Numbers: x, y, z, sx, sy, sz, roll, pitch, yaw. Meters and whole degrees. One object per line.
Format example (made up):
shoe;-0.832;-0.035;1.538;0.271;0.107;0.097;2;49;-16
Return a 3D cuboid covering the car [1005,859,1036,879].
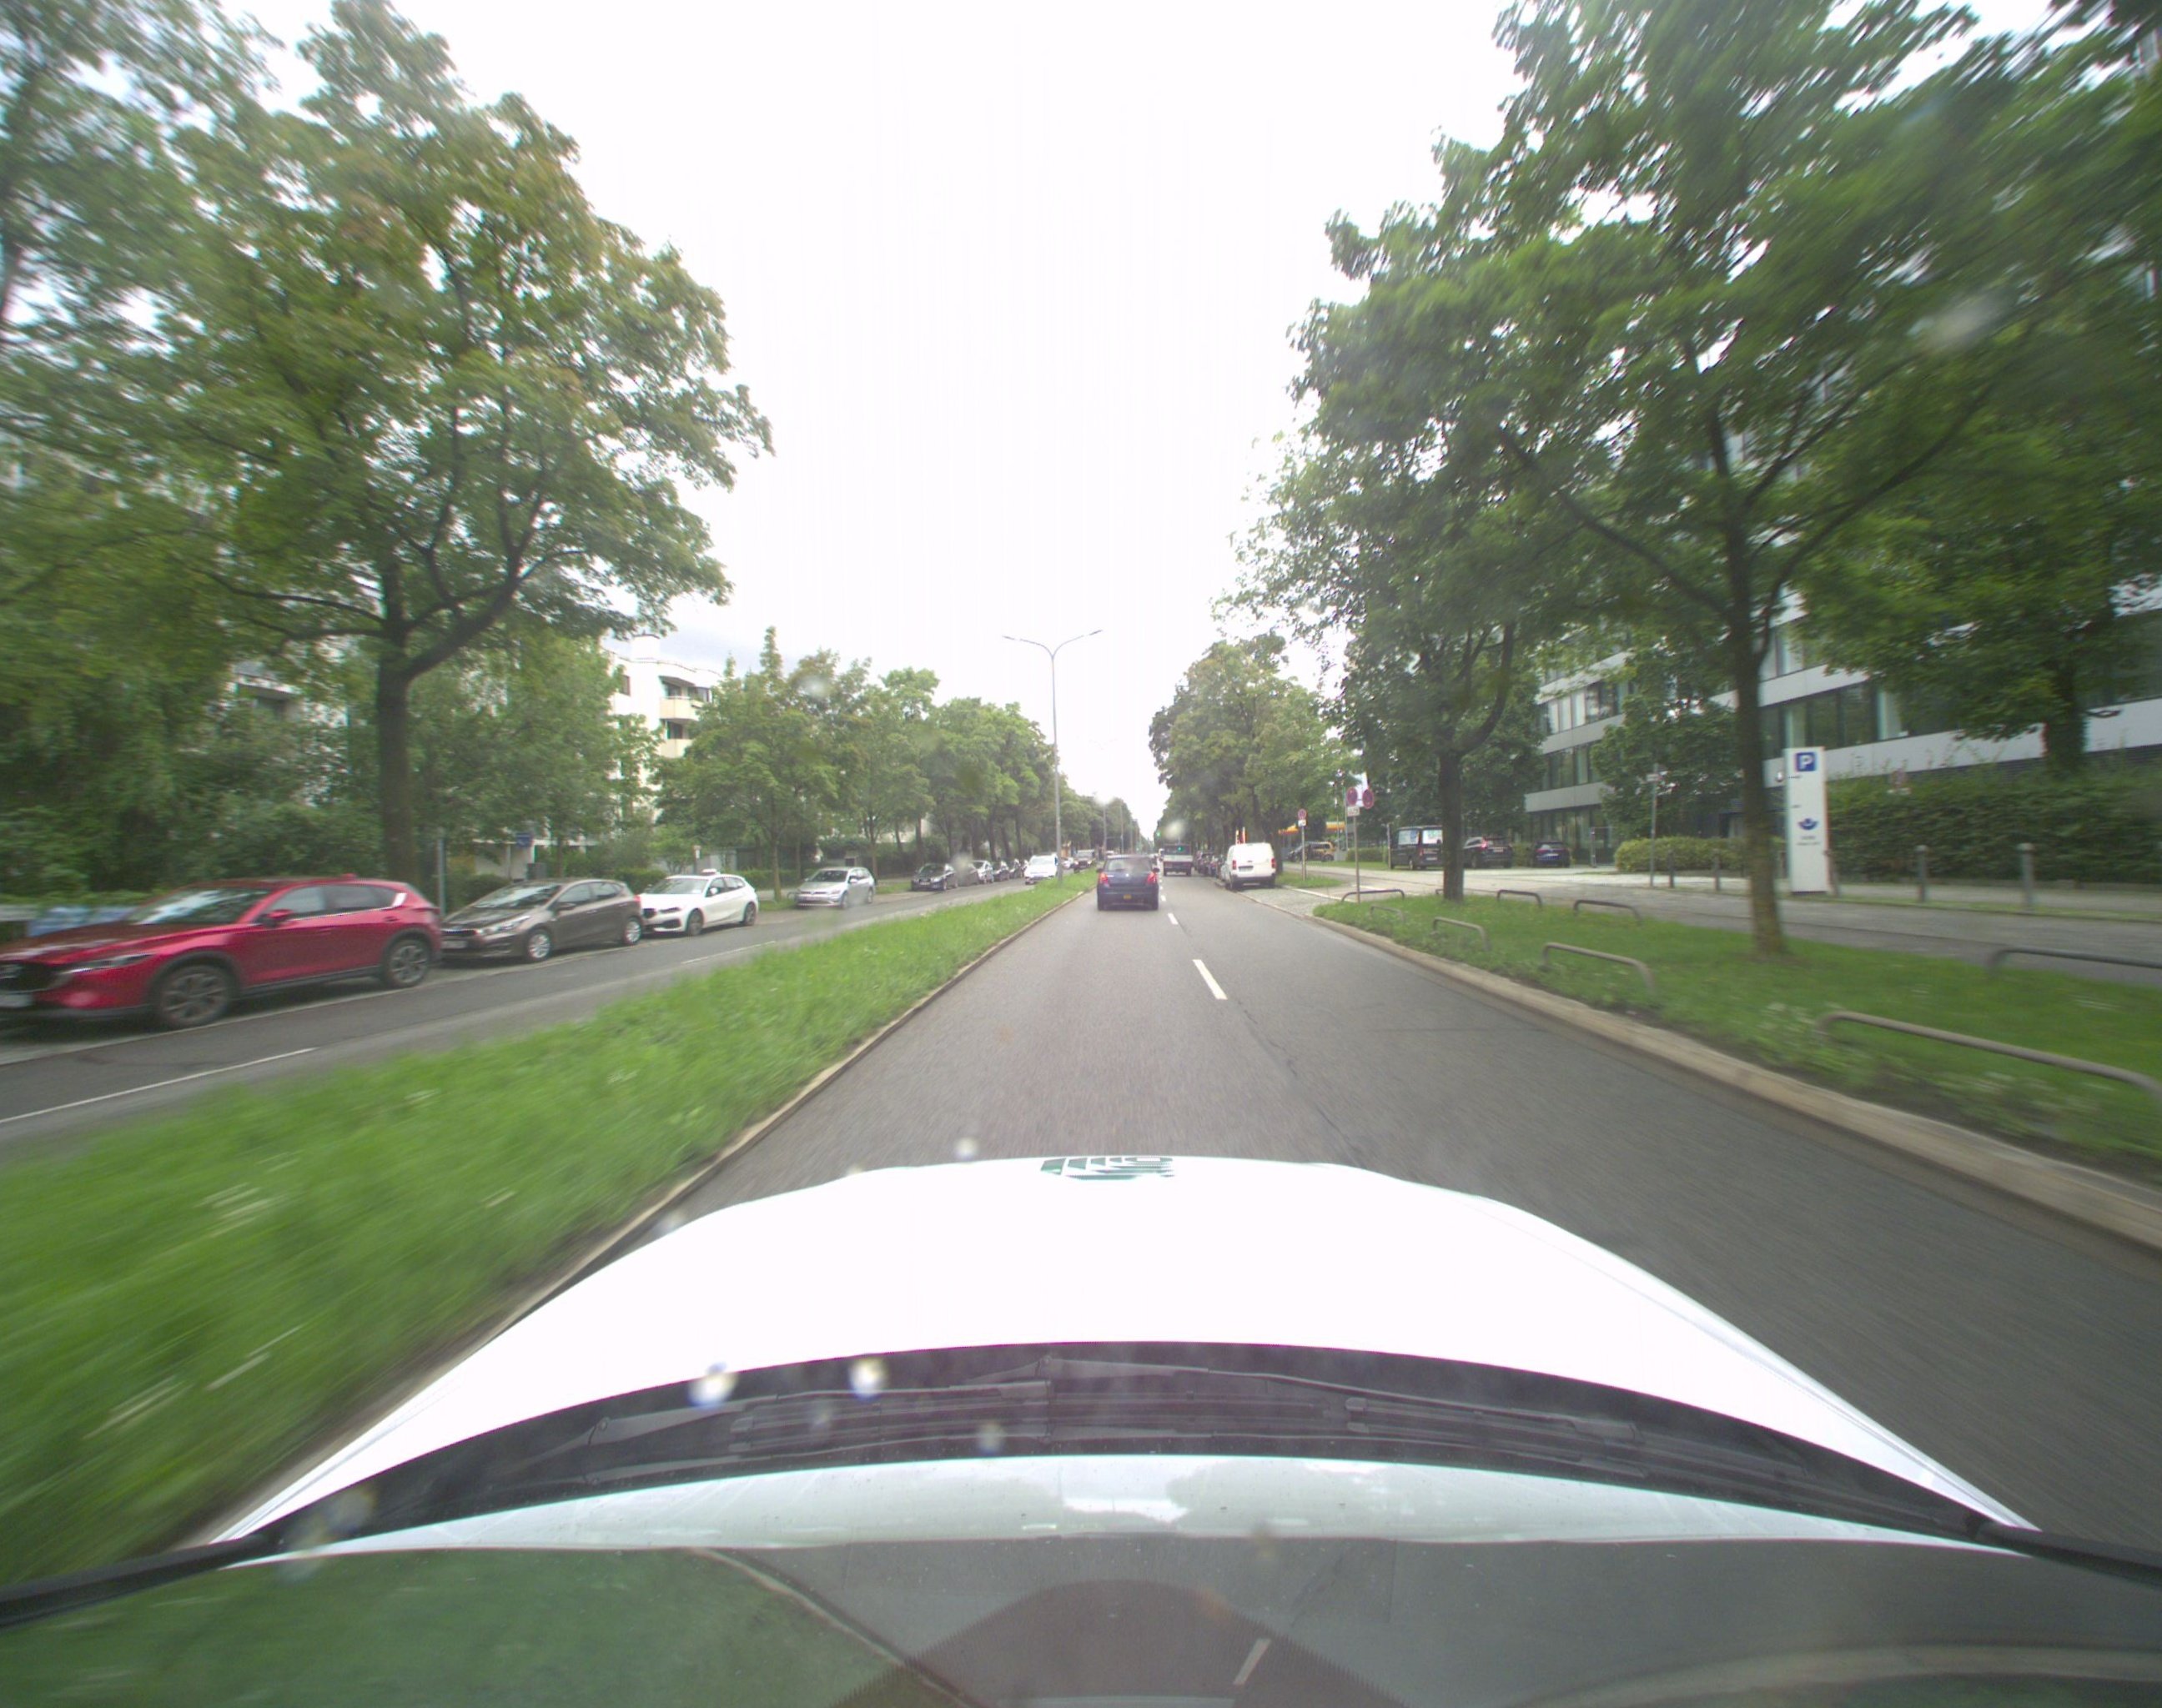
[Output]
car;-5.121;1.246;69.105;1.751;1.513;4.956;0;0;6

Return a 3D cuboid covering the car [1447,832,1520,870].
car;21.271;-0.162;43.256;1.834;1.818;4.476;-3;0;3

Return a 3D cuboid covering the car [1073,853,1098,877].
car;0.425;0.945;73.100;1.772;2.029;4.824;-3;0;5

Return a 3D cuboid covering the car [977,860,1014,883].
car;-6.144;1.220;58.795;1.708;1.524;5.041;1;0;5

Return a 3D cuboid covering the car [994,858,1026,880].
car;-5.574;1.172;64.367;1.677;1.597;4.217;0;0;6

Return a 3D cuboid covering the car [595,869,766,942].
car;-9.849;1.195;20.481;1.730;1.529;4.482;0;0;5

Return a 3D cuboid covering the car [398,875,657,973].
car;-10.351;1.212;15.711;1.730;1.483;4.340;0;0;5

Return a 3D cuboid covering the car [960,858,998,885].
car;-6.664;1.140;53.601;1.617;1.647;3.874;1;0;6

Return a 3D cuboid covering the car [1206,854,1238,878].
car;9.260;0.750;53.690;1.693;1.421;4.127;-3;0;5

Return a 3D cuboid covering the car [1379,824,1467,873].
car;17.867;-0.272;42.944;2.255;2.306;6.274;-3;0;3

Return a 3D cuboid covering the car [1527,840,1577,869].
car;24.370;0.009;42.276;1.766;1.374;3.987;-1;0;23

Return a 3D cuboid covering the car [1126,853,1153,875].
car;4.244;0.715;59.001;1.791;1.499;3.665;-2;0;4

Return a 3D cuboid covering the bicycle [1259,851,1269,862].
bicycle;20.155;0.294;89.523;0.745;1.183;2.250;-2;0;5

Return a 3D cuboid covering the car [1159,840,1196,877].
car;6.754;0.313;56.824;2.406;2.444;5.096;-1;0;7

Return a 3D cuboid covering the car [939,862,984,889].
car;-7.113;1.255;48.919;1.617;1.423;4.199;1;0;6

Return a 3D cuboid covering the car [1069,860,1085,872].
car;-0.532;1.599;109.192;1.666;1.475;4.221;1;0;5

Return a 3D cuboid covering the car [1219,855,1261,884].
car;8.280;0.773;42.756;1.693;1.397;4.239;-3;0;5

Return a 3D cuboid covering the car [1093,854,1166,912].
car;1.346;0.765;23.316;1.889;1.499;3.662;-2;0;2

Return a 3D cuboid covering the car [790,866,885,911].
car;-8.980;1.218;30.444;1.728;1.448;4.829;1;0;5

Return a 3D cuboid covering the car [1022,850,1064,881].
car;-2.154;0.637;47.427;1.825;1.642;4.356;-3;0;5

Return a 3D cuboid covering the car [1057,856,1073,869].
car;-2.005;1.070;103.937;1.683;1.565;3.082;-2;0;3

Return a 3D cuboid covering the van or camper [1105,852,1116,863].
van or camper;7.404;0.893;202.520;2.129;2.476;6.268;-3;0;6

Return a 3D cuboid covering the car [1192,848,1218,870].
car;10.873;0.436;71.572;1.884;1.800;4.868;-3;0;5

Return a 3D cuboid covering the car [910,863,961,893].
car;-7.664;1.240;43.330;1.573;1.423;4.368;1;0;5

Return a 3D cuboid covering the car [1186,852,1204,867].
car;12.668;0.648;90.762;1.770;1.511;4.293;-4;0;7

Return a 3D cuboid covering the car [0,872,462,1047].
car;-10.811;1.128;10.622;1.731;1.651;4.611;0;0;4

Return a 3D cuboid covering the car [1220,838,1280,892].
car;7.451;0.437;36.457;1.977;2.157;5.564;-3;0;6

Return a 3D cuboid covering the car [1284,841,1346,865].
car;22.618;-0.064;78.914;5.445;2.083;2.149;-2;0;4

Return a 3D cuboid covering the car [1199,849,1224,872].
car;10.434;0.503;65.391;1.803;1.675;4.809;-3;0;7

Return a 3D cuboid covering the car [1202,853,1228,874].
car;9.875;0.663;60.163;1.692;1.408;4.523;-3;0;8
